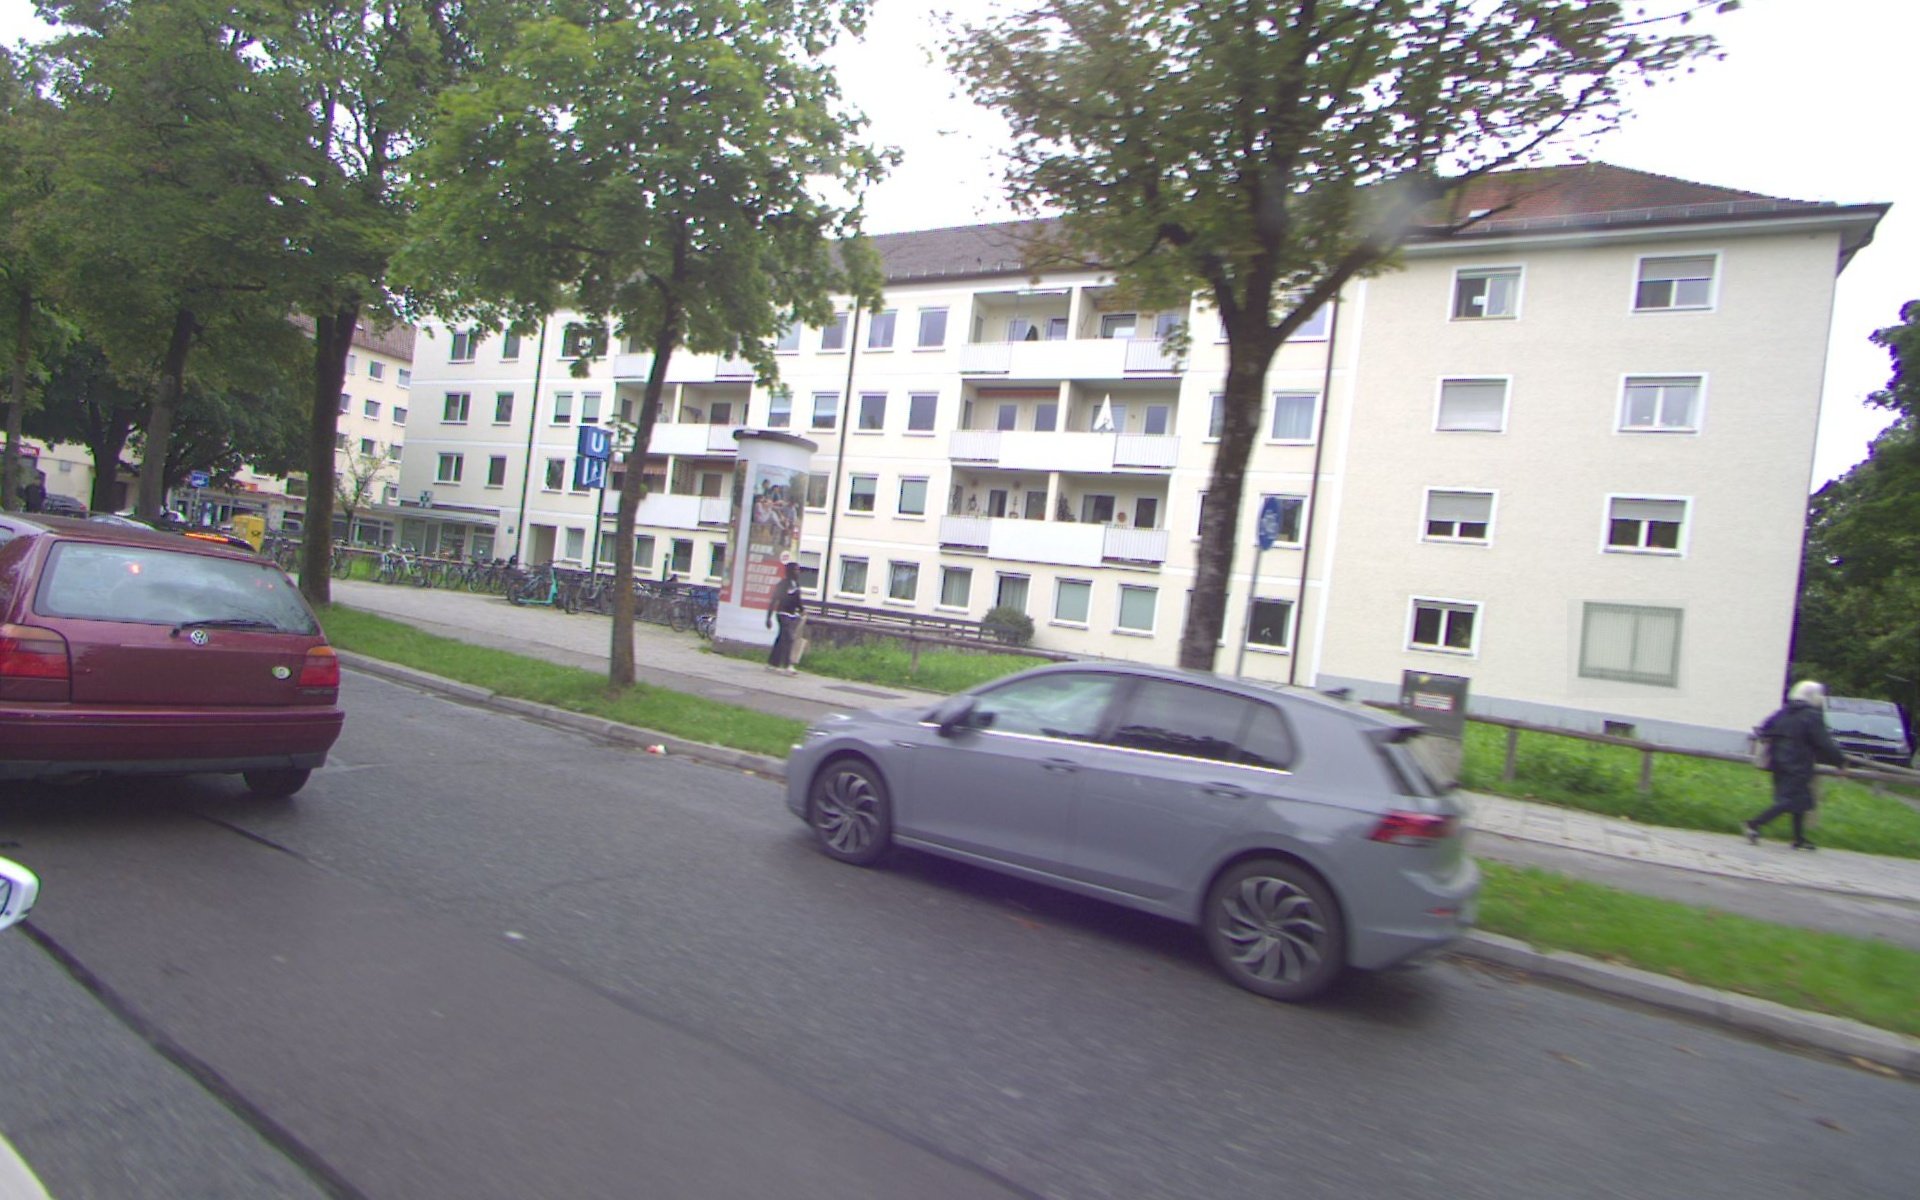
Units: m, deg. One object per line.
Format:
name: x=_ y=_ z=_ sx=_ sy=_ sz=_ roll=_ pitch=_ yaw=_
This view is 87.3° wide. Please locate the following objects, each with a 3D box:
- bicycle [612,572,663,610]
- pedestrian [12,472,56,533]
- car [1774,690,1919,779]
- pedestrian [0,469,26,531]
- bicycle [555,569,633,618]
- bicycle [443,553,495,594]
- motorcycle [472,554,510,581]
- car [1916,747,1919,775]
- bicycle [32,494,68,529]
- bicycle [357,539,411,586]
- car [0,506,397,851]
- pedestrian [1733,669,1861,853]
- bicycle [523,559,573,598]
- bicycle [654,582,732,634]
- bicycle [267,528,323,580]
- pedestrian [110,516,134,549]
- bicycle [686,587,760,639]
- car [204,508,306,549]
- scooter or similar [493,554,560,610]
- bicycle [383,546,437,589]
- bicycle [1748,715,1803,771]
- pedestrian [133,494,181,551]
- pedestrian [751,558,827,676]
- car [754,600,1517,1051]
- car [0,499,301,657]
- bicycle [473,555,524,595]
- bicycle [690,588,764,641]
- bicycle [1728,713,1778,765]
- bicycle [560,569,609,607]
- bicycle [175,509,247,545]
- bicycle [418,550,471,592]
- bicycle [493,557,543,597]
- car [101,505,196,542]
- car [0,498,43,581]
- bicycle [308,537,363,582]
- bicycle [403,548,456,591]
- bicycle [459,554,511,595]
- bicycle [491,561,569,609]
bicycle: x=-10.545 y=-0.308 z=32.873 sx=1.852 sy=1.041 sz=0.431 roll=8 pitch=2 yaw=33
pedestrian: x=-30.911 y=-3.252 z=33.576 sx=0.904 sy=1.913 sz=0.730 roll=7 pitch=1 yaw=31
car: x=26.882 y=3.944 z=30.583 sx=2.306 sy=2.024 sz=6.097 roll=7 pitch=0 yaw=32
pedestrian: x=-31.294 y=-3.293 z=33.003 sx=0.887 sy=1.913 sz=0.588 roll=7 pitch=1 yaw=31
bicycle: x=-8.885 y=-0.135 z=24.502 sx=0.425 sy=1.041 sz=1.880 roll=7 pitch=0 yaw=28
bicycle: x=-14.779 y=-0.797 z=30.284 sx=1.852 sy=1.041 sz=0.431 roll=8 pitch=2 yaw=33
motorcycle: x=-21.533 y=-1.501 z=46.177 sx=1.875 sy=1.035 sz=0.605 roll=7 pitch=-1 yaw=32
car: x=28.473 y=4.580 z=28.062 sx=1.558 sy=1.216 sz=3.744 roll=8 pitch=1 yaw=28
bicycle: x=-32.977 y=-3.218 z=36.444 sx=1.853 sy=1.116 sz=0.382 roll=7 pitch=0 yaw=33
bicycle: x=-16.161 y=-1.049 z=28.206 sx=1.852 sy=1.115 sz=0.431 roll=8 pitch=2 yaw=33
car: x=-5.231 y=0.216 z=5.756 sx=3.853 sy=1.400 sz=1.686 roll=7 pitch=-2 yaw=31
pedestrian: x=8.604 y=1.628 z=10.366 sx=0.590 sy=1.750 sz=0.642 roll=7 pitch=0 yaw=5
bicycle: x=-13.313 y=-0.707 z=32.463 sx=1.852 sy=1.041 sz=0.431 roll=8 pitch=2 yaw=33
bicycle: x=-5.986 y=0.201 z=22.662 sx=0.425 sy=1.041 sz=1.880 roll=7 pitch=0 yaw=28
bicycle: x=-17.422 y=-1.211 z=26.323 sx=1.852 sy=1.148 sz=0.431 roll=8 pitch=2 yaw=33
pedestrian: x=-26.497 y=-2.123 z=31.813 sx=0.428 sy=0.961 sz=0.408 roll=7 pitch=1 yaw=30
bicycle: x=-5.227 y=0.309 z=22.286 sx=0.425 sy=1.041 sz=1.881 roll=7 pitch=0 yaw=26
car: x=-43.195 y=-4.379 z=61.746 sx=1.840 sy=1.795 sz=4.742 roll=7 pitch=0 yaw=30
scooter or similar: x=-10.598 y=-0.438 z=24.620 sx=1.367 sy=1.216 sz=0.358 roll=6 pitch=1 yaw=-11
bicycle: x=-15.726 y=-0.930 z=28.757 sx=1.852 sy=1.041 sz=0.431 roll=8 pitch=2 yaw=33
bicycle: x=16.827 y=2.931 z=20.788 sx=0.447 sy=0.983 sz=1.694 roll=8 pitch=0 yaw=28
pedestrian: x=-25.757 y=-2.482 z=32.263 sx=0.821 sy=1.702 sz=0.839 roll=7 pitch=1 yaw=30
pedestrian: x=-2.735 y=0.275 z=16.106 sx=0.836 sy=1.772 sz=0.638 roll=8 pitch=3 yaw=38
car: x=0.910 y=1.038 z=6.050 sx=4.047 sy=1.482 sz=1.685 roll=7 pitch=-1 yaw=33
car: x=-10.598 y=-0.317 z=13.086 sx=4.108 sy=1.482 sz=1.753 roll=7 pitch=-1 yaw=33
bicycle: x=-14.302 y=-0.773 z=31.143 sx=1.852 sy=1.041 sz=0.431 roll=8 pitch=2 yaw=33
bicycle: x=-4.991 y=0.334 z=21.642 sx=0.425 sy=1.041 sz=1.882 roll=7 pitch=0 yaw=24
bicycle: x=17.622 y=3.077 z=22.384 sx=0.447 sy=0.983 sz=1.694 roll=8 pitch=0 yaw=28
bicycle: x=-12.416 y=-0.414 z=33.248 sx=1.852 sy=1.041 sz=0.431 roll=8 pitch=2 yaw=33
bicycle: x=-26.392 y=-2.551 z=35.481 sx=0.549 sy=0.950 sz=1.880 roll=7 pitch=-2 yaw=33
bicycle: x=-15.204 y=-0.871 z=29.648 sx=1.852 sy=1.041 sz=0.431 roll=8 pitch=2 yaw=33
bicycle: x=-13.980 y=-0.729 z=31.788 sx=1.852 sy=1.041 sz=0.431 roll=8 pitch=2 yaw=33
car: x=-44.044 y=-4.144 z=54.678 sx=1.841 sy=1.435 sz=3.552 roll=7 pitch=0 yaw=32
car: x=-19.059 y=-1.354 z=18.685 sx=4.171 sy=1.402 sz=1.640 roll=7 pitch=-1 yaw=29
bicycle: x=-16.988 y=-1.111 z=27.348 sx=1.852 sy=1.041 sz=0.431 roll=8 pitch=2 yaw=33
bicycle: x=-15.431 y=-0.891 z=29.219 sx=1.852 sy=1.041 sz=0.431 roll=8 pitch=2 yaw=33
bicycle: x=-14.490 y=-0.773 z=30.678 sx=1.852 sy=1.041 sz=0.431 roll=8 pitch=2 yaw=33
bicycle: x=-10.928 y=-0.364 z=25.636 sx=0.425 sy=1.041 sz=1.880 roll=7 pitch=0 yaw=28
